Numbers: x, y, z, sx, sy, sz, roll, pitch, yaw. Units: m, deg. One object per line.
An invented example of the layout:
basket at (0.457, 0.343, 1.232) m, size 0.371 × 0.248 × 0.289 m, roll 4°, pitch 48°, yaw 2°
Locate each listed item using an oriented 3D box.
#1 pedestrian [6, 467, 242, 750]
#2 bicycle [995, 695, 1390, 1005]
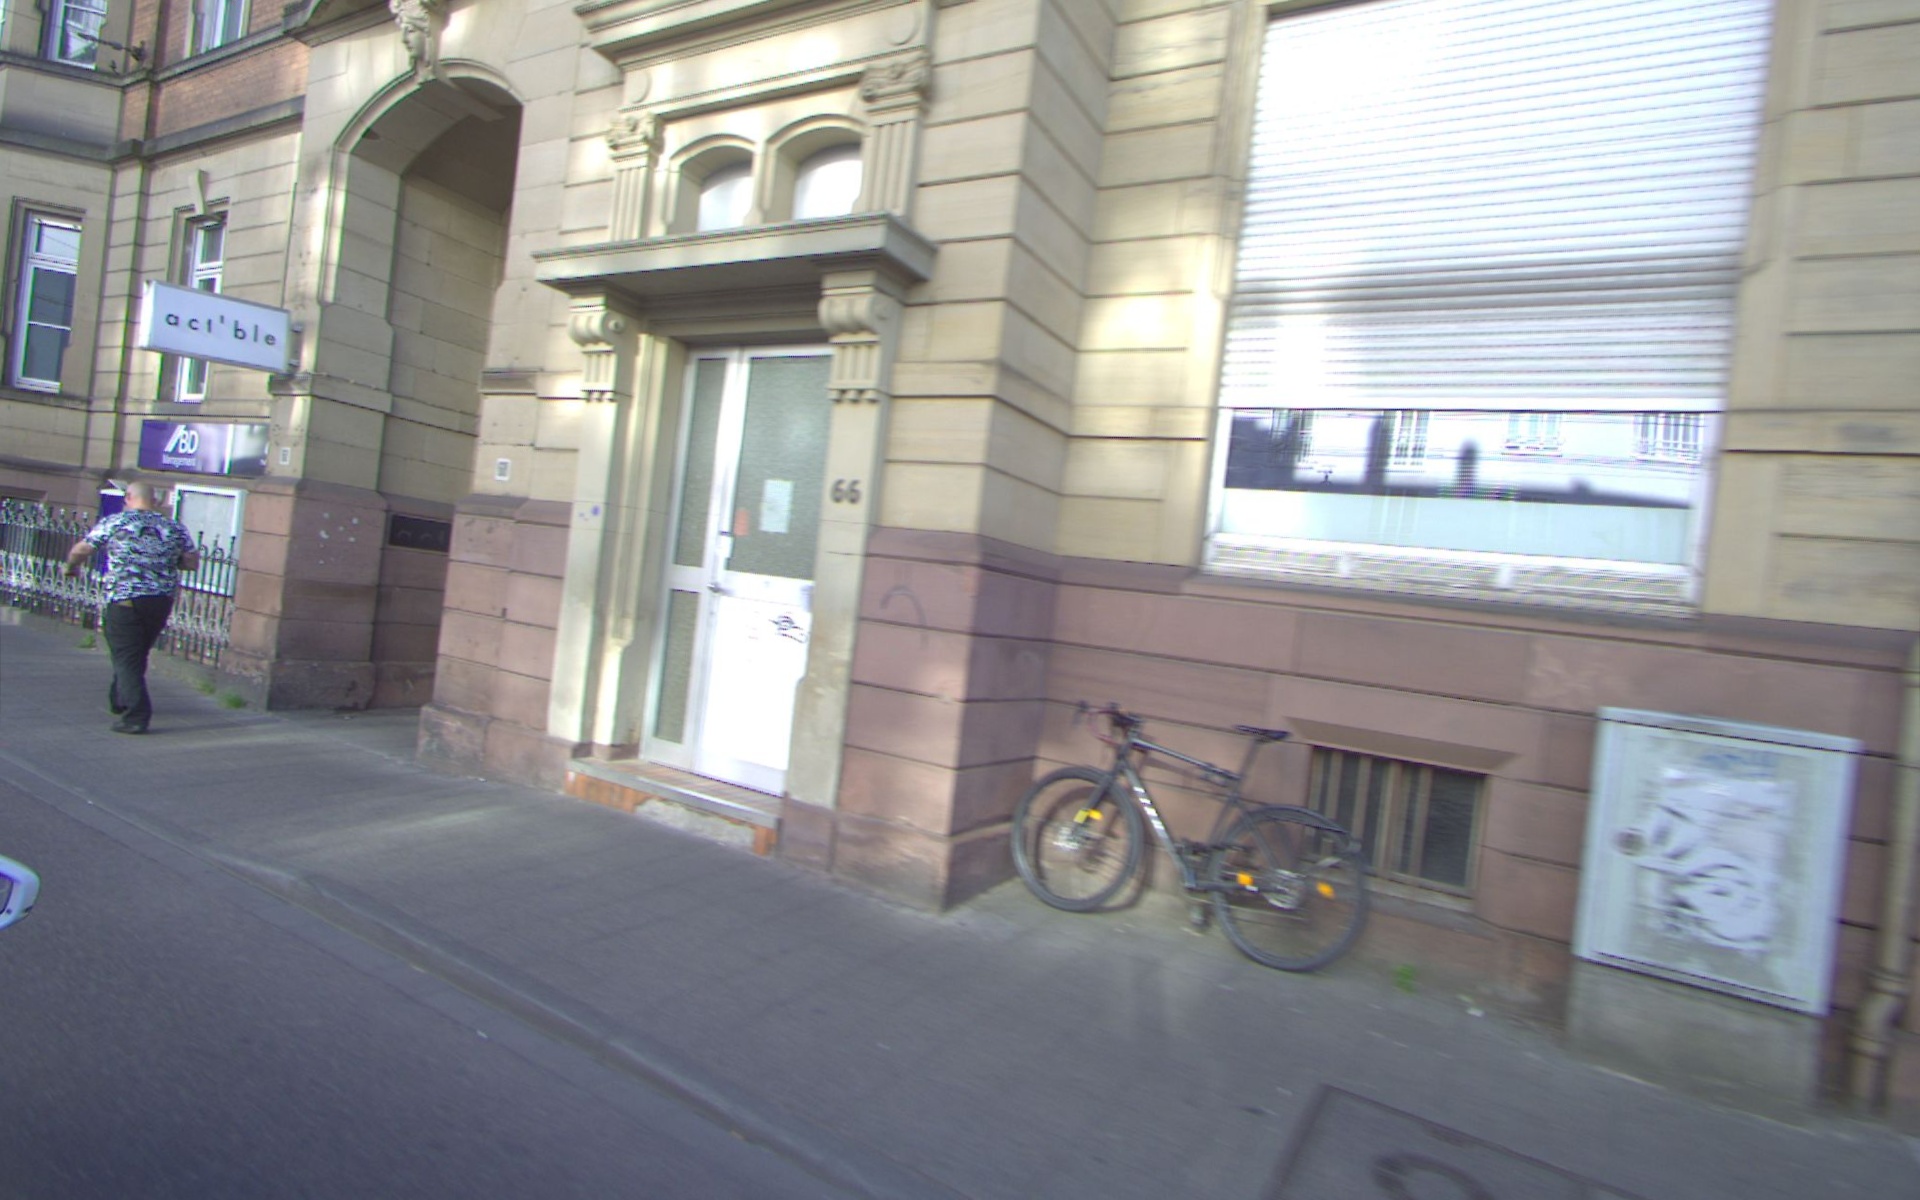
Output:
pedestrian at (-5.917, 0.055, 7.131) m, size 1.074 × 1.771 × 0.781 m, roll 10°, pitch 1°, yaw 29°
bicycle at (1.045, 1.107, 4.806) m, size 1.739 × 1.064 × 0.256 m, roll 6°, pitch -2°, yaw 32°
